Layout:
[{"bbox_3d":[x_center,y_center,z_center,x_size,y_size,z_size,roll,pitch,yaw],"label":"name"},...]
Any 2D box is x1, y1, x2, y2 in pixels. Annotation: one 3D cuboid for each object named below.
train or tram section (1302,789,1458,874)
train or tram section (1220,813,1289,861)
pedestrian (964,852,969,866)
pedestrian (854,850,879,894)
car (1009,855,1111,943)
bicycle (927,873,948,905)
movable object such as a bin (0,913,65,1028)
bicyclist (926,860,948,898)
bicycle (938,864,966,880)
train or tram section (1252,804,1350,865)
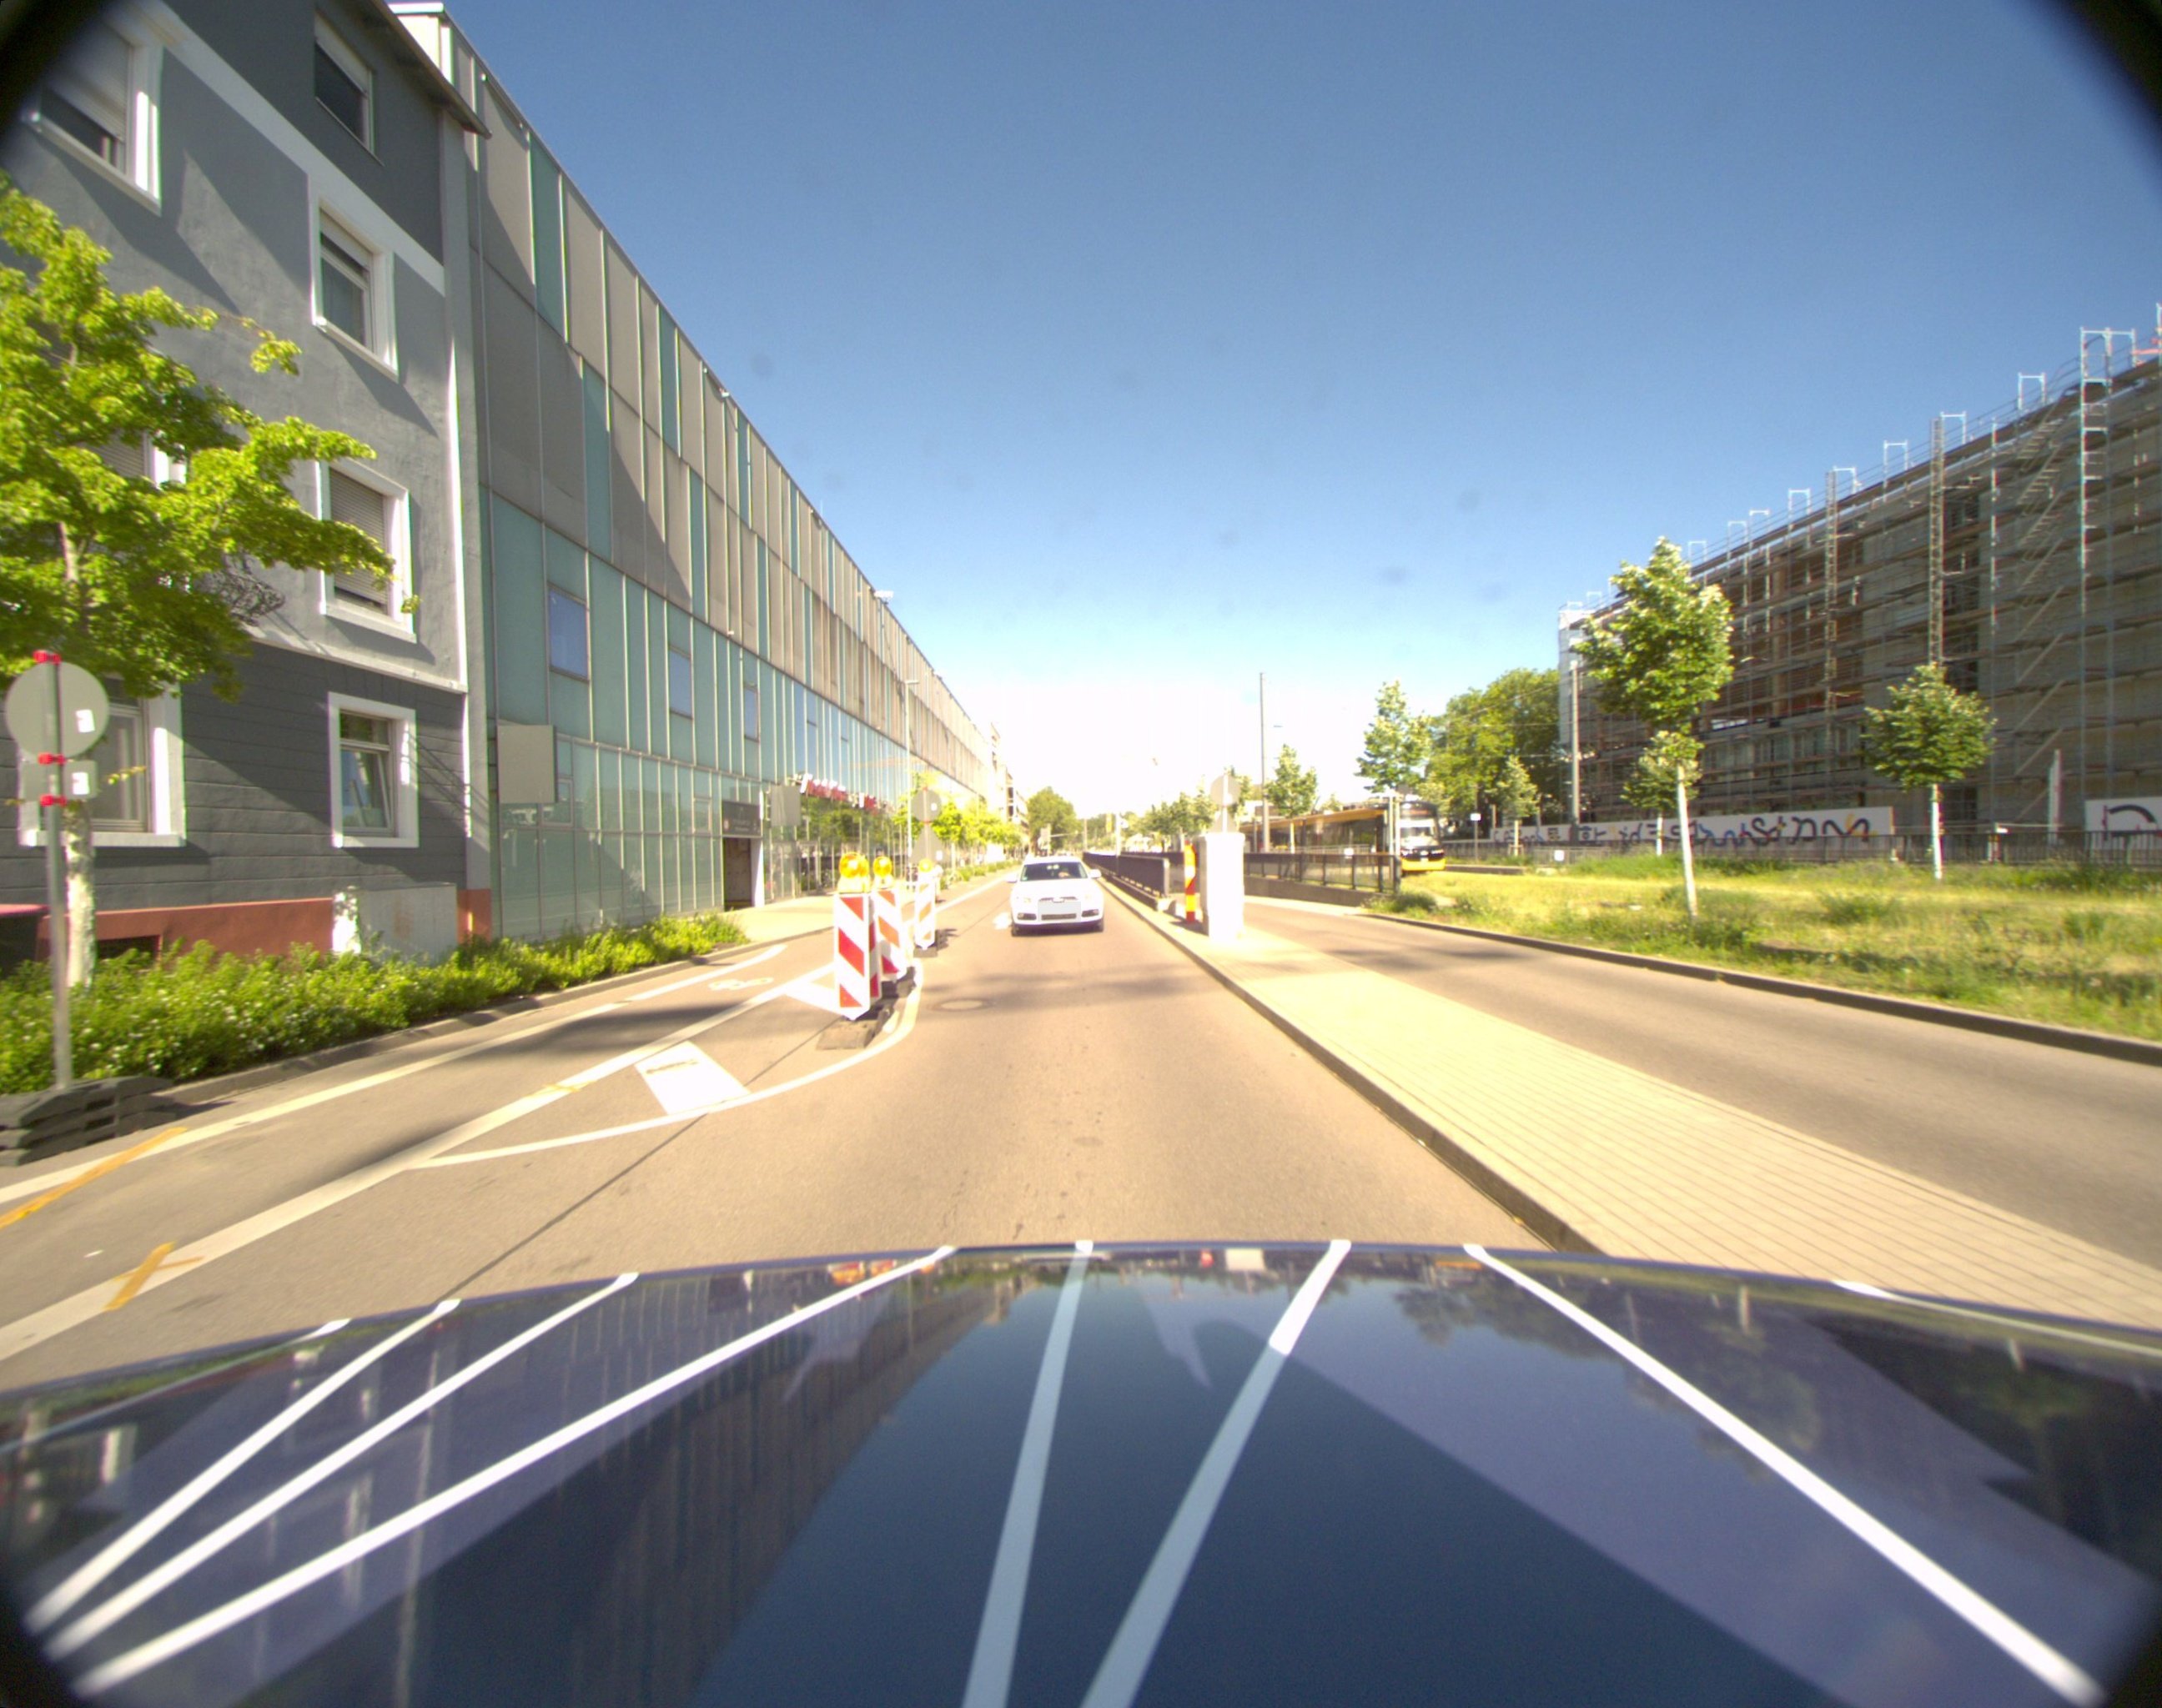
[{"bbox_3d":[14.741,-1.060,39.091,2.823,3.618,12.786,-1,1,-1],"label":"train or tram section"},{"bbox_3d":[14.459,-1.414,64.668,2.823,3.618,12.786,-1,1,-1],"label":"train or tram section"},{"bbox_3d":[-13.290,0.571,87.886,0.450,1.681,0.345,-2,1,-1],"label":"pedestrian"},{"bbox_3d":[-9.672,0.817,34.315,0.877,1.914,0.895,1,3,-1],"label":"pedestrian"},{"bbox_3d":[-0.552,0.882,16.906,1.935,1.624,3.998,-3,1,-4],"label":"car"},{"bbox_3d":[-5.691,1.370,30.211,0.610,1.144,1.986,0,1,-6],"label":"bicycle"},{"bbox_3d":[-10.777,1.150,7.461,0.604,1.076,0.703,-2,1,0],"label":"movable object such as a bin"},{"bbox_3d":[-5.721,1.002,30.236,0.756,1.454,0.587,-2,2,-6],"label":"bicyclist"},{"bbox_3d":[-8.238,1.152,48.609,1.741,1.056,0.467,1,0,-16],"label":"bicycle"},{"bbox_3d":[14.612,-1.247,51.864,2.823,3.618,12.786,-1,1,-1],"label":"train or tram section"}]
